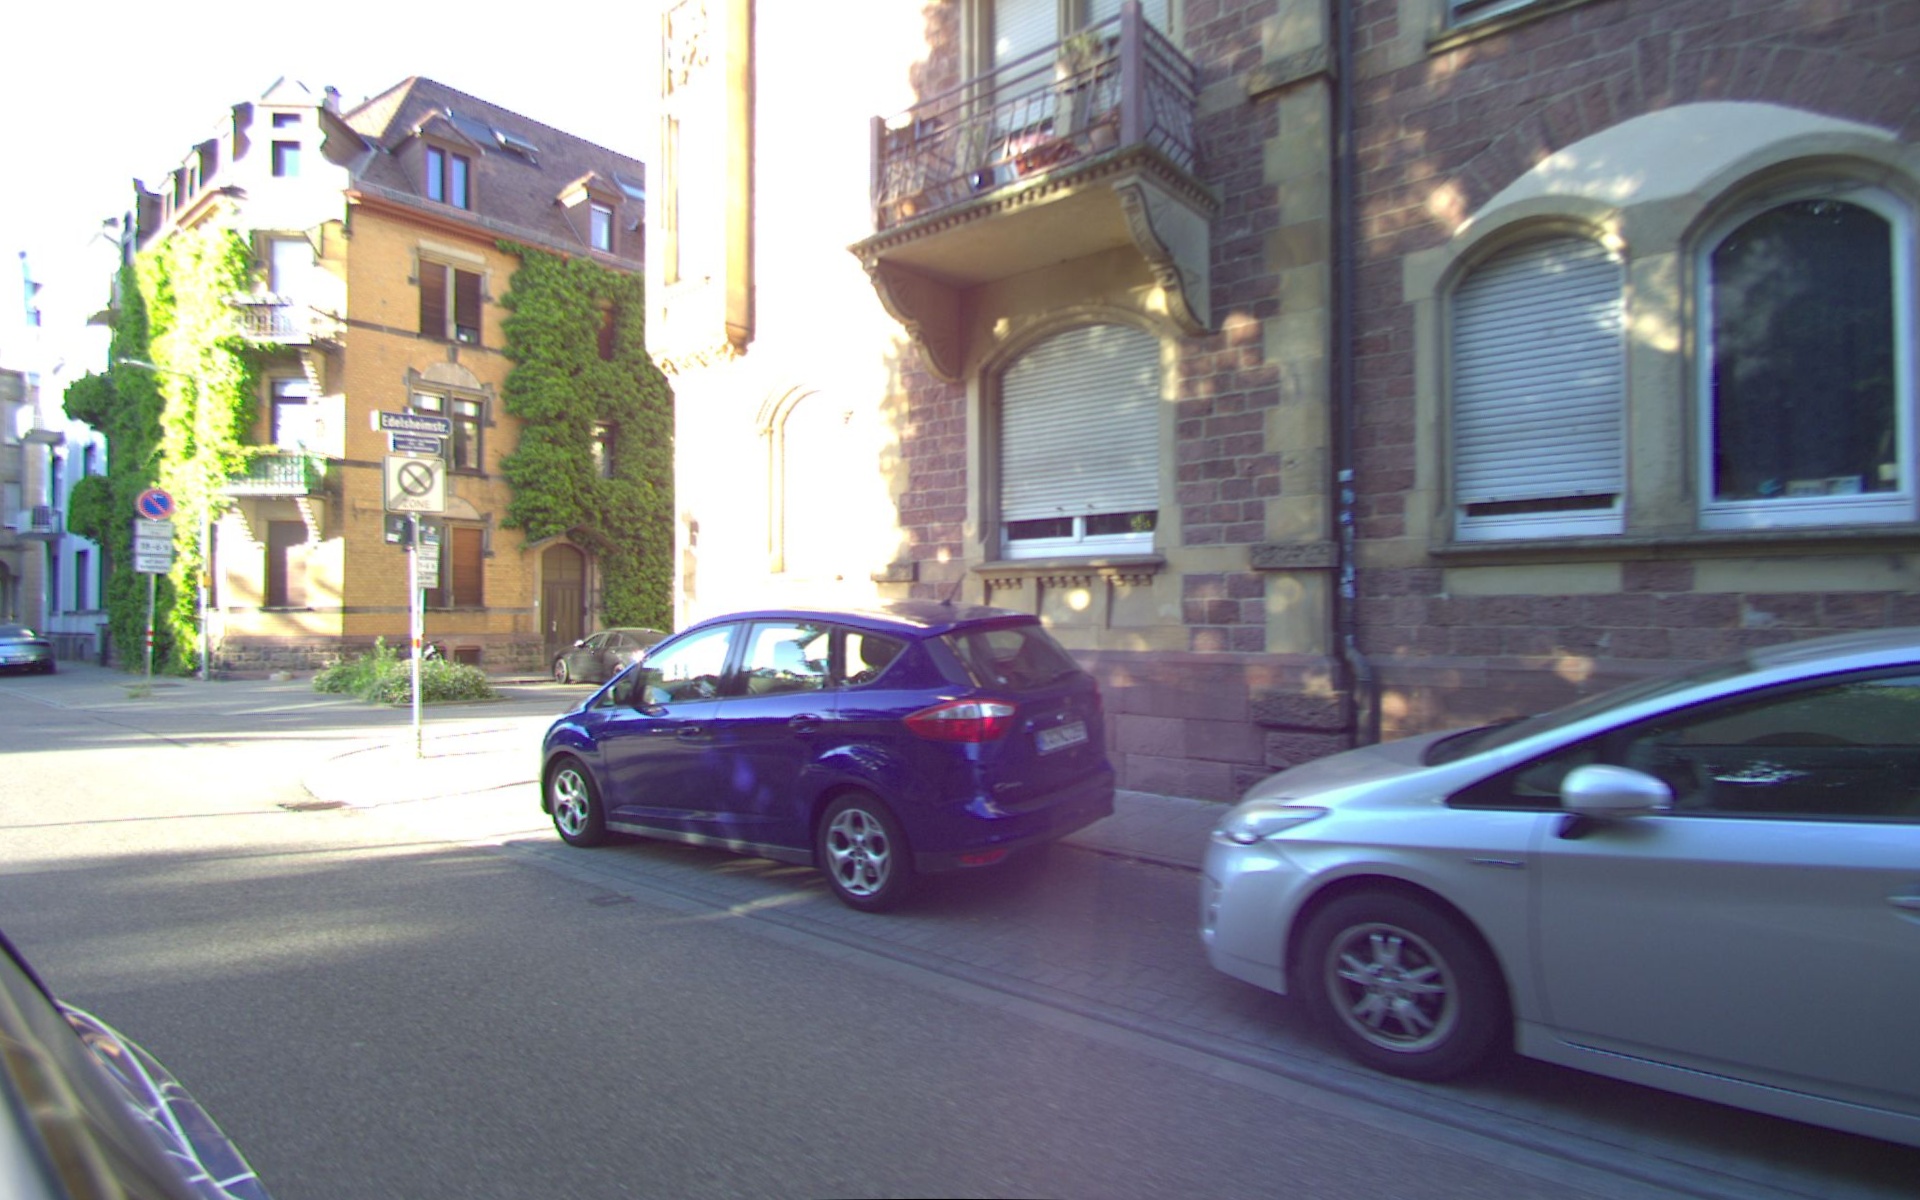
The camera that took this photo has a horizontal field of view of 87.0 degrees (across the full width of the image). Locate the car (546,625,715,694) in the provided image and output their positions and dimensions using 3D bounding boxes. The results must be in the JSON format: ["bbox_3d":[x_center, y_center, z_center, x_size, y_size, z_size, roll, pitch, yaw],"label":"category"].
[{"bbox_3d":[-8.053,1.374,24.561,4.254,1.446,1.973,0,-1,41],"label":"car"}]

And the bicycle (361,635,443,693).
[{"bbox_3d":[-12.880,1.455,23.401,1.578,1.278,0.565,1,-2,-41],"label":"bicycle"}]

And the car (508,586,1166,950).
[{"bbox_3d":[-1.004,0.791,6.544,4.252,1.634,1.713,-2,-1,38],"label":"car"}]

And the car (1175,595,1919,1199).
[{"bbox_3d":[3.058,0.737,2.963,4.449,1.510,1.713,-1,-1,38],"label":"car"}]

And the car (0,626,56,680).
[{"bbox_3d":[-27.808,1.501,29.197,4.920,1.415,1.858,-1,0,39],"label":"car"}]
